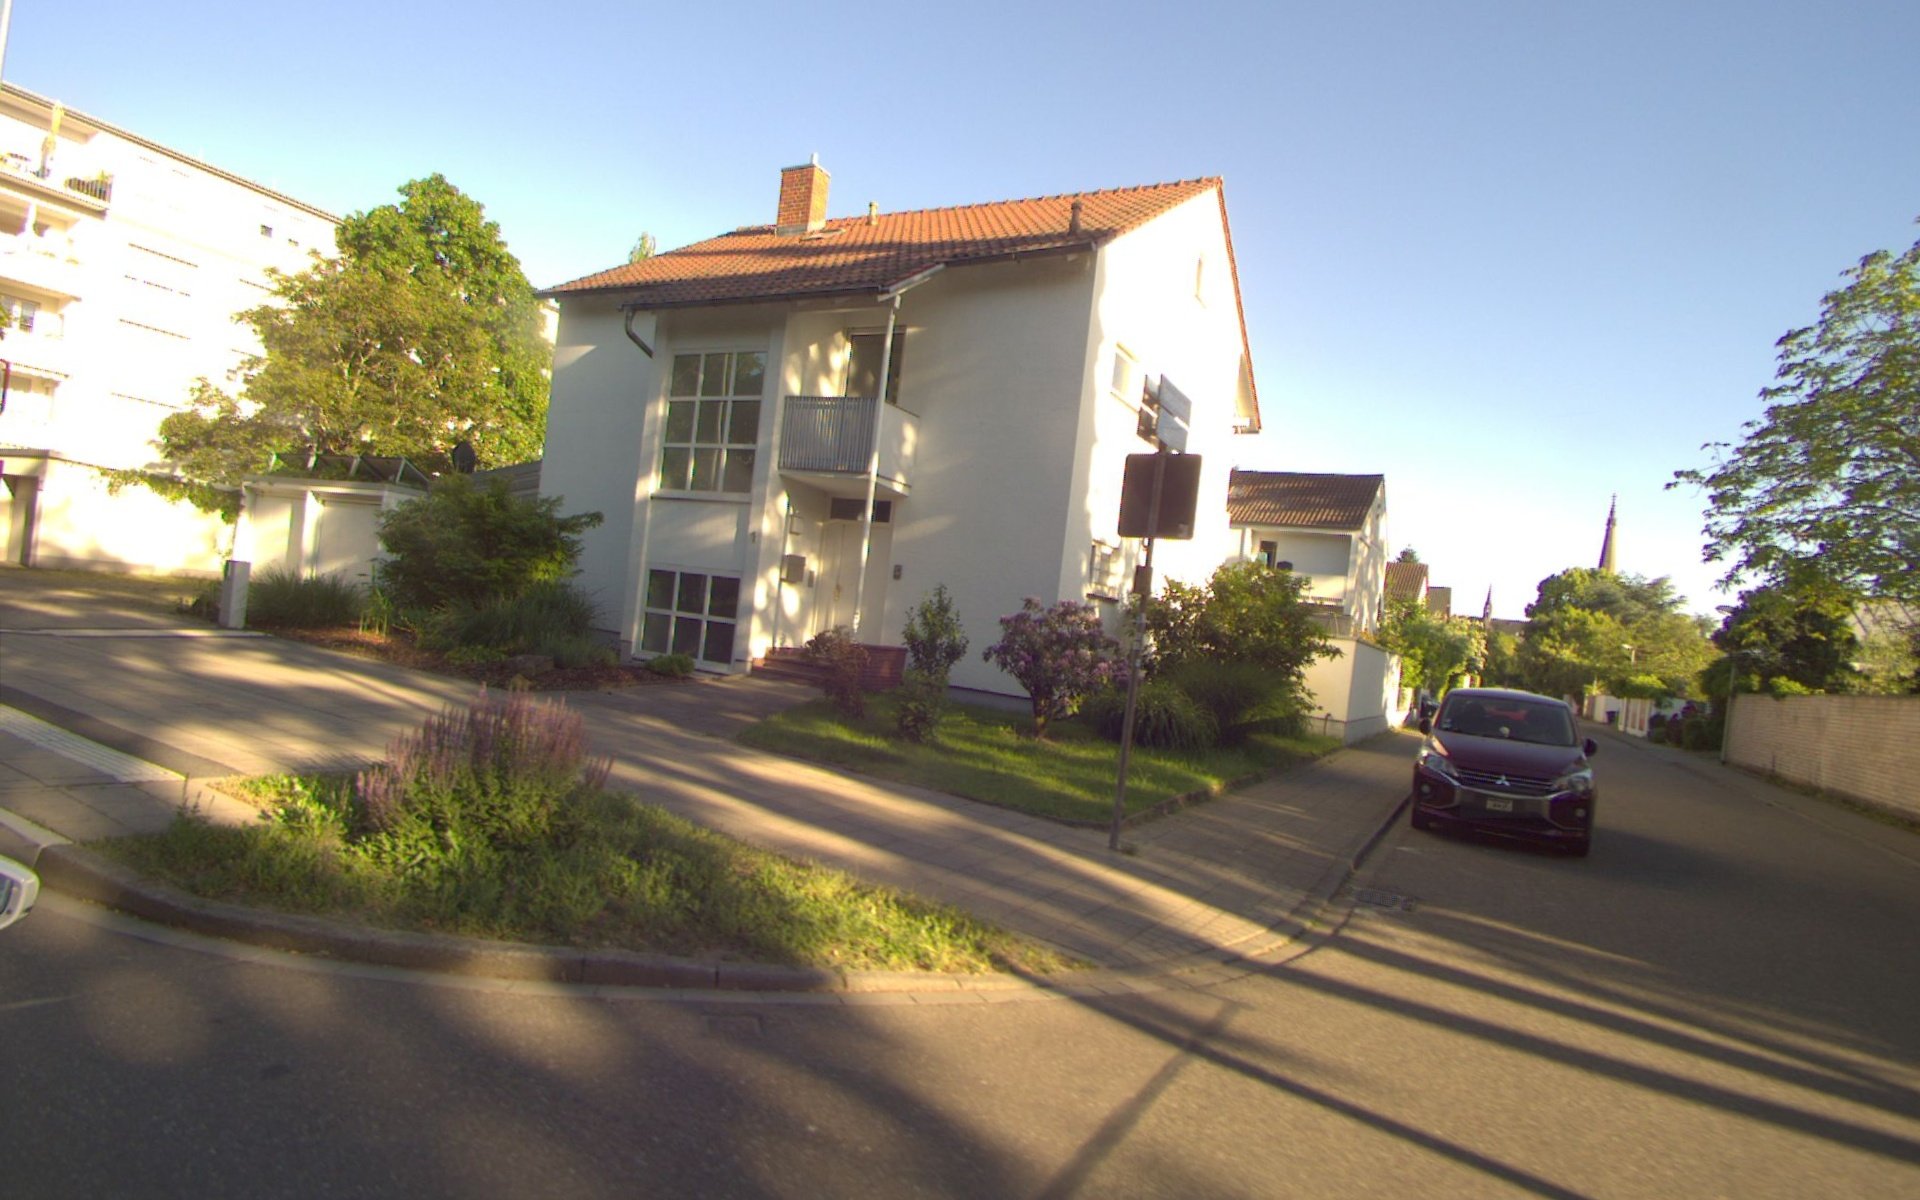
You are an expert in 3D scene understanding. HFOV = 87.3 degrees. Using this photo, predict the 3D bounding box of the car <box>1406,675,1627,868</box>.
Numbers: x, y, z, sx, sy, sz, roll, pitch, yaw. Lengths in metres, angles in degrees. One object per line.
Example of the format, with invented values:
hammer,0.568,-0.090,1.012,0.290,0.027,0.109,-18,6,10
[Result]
car,5.977,1.731,11.117,1.661,1.519,3.742,7,-2,26

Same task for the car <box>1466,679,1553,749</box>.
car,15.676,3.229,28.708,1.919,1.641,4.050,5,-3,29
